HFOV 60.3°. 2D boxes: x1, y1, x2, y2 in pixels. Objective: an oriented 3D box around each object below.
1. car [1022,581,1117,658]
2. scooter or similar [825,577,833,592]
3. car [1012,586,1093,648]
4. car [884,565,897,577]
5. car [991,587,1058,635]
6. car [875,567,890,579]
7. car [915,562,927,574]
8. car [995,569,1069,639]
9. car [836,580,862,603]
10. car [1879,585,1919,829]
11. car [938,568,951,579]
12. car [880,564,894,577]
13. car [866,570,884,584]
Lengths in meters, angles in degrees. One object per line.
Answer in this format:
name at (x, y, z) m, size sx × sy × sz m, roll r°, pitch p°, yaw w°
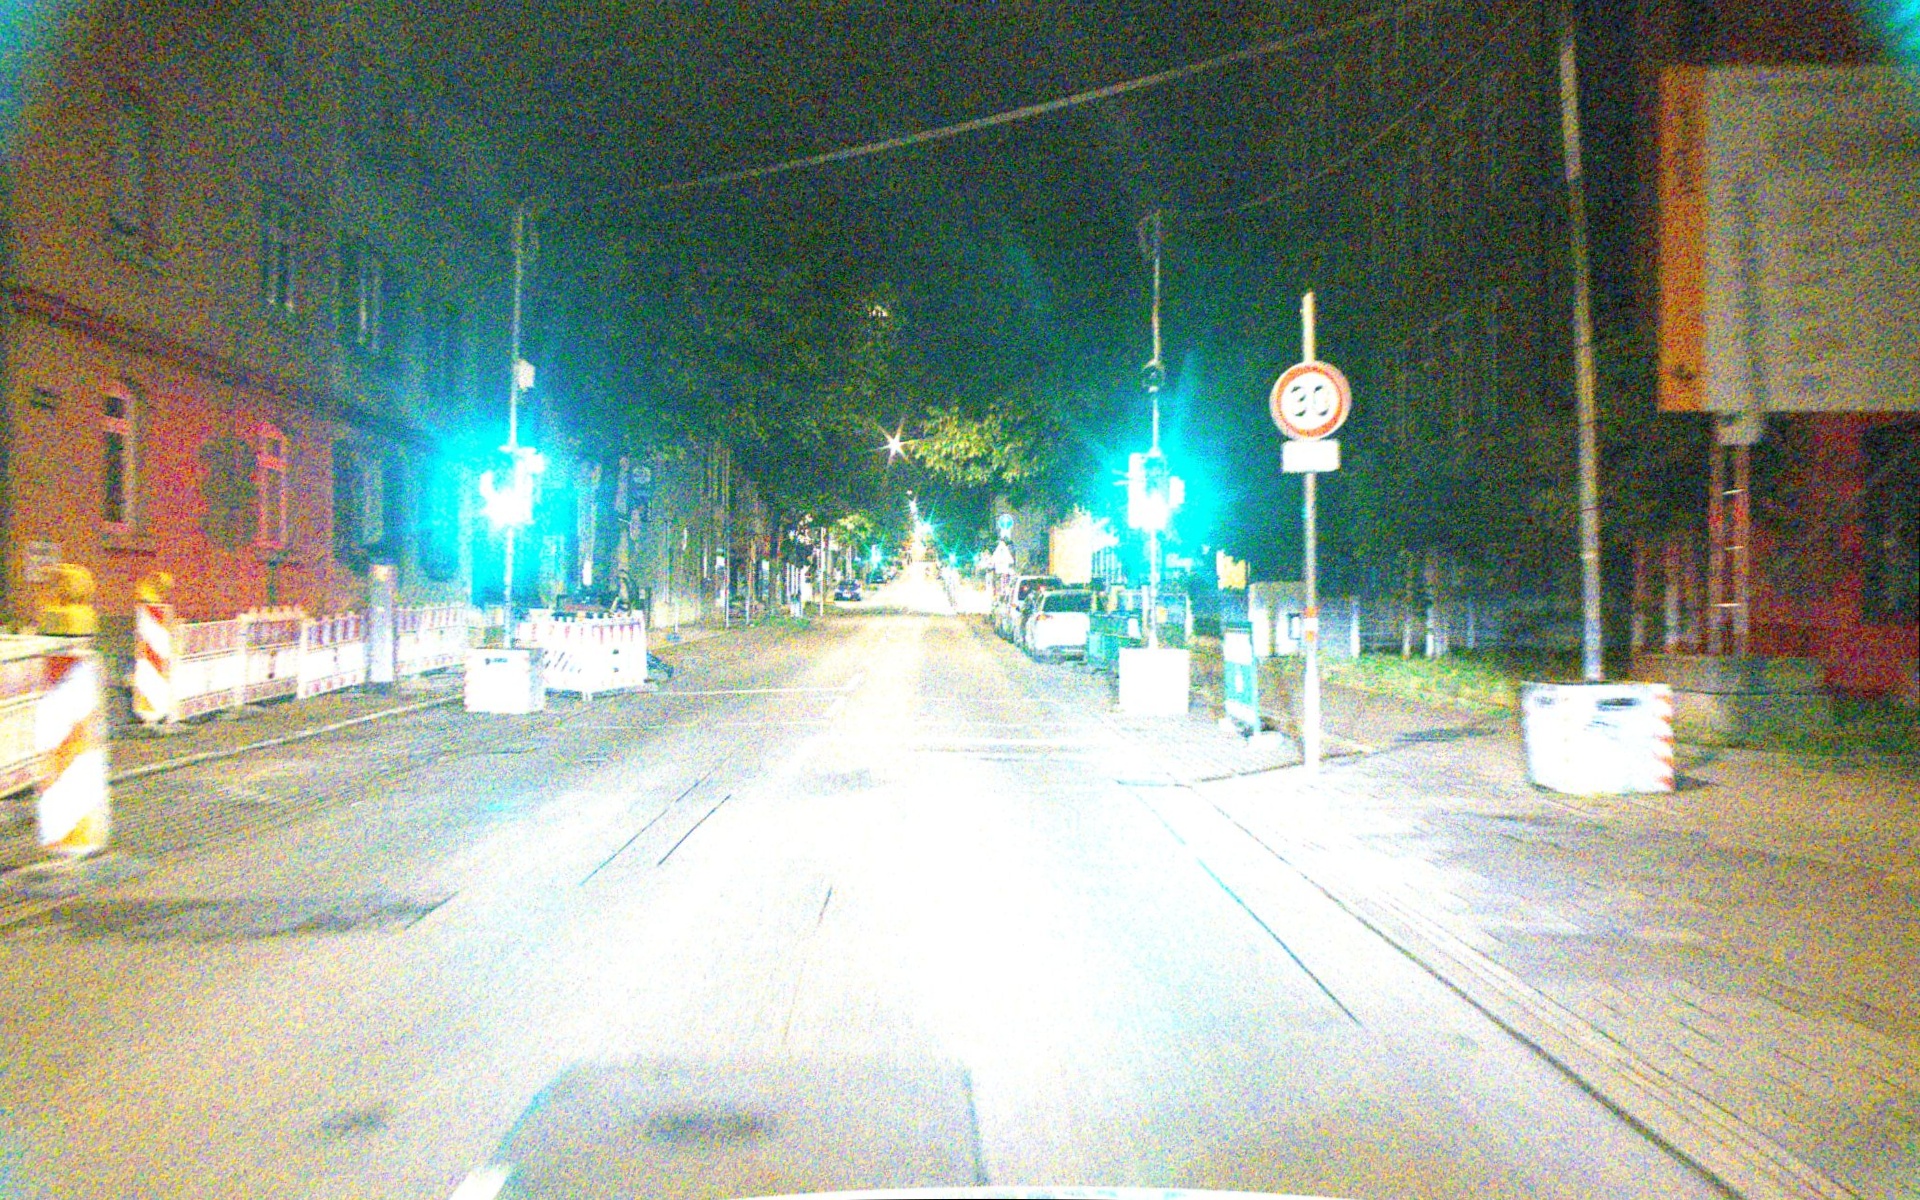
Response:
car at (2.307, 0.374, 35.767) m, size 1.704 × 1.503 × 3.999 m, roll -2°, pitch 1°, yaw -1°
scooter or similar at (-11.067, -1.302, 139.534) m, size 0.517 × 1.185 × 2.506 m, roll -1°, pitch -1°, yaw -2°
car at (2.225, 0.377, 40.791) m, size 1.652 × 1.445 × 4.442 m, roll -1°, pitch 0°, yaw -1°
car at (-10.419, -4.352, 247.392) m, size 1.835 × 1.846 × 4.204 m, roll 0°, pitch 1°, yaw -1°
car at (1.981, 0.321, 51.868) m, size 1.693 × 1.444 × 4.320 m, roll 0°, pitch 0°, yaw -4°
car at (-10.446, -3.601, 222.681) m, size 1.835 × 1.571 × 4.204 m, roll 0°, pitch 1°, yaw -1°
car at (-5.962, -4.854, 253.561) m, size 1.835 × 1.846 × 4.205 m, roll 1°, pitch 1°, yaw 0°
car at (1.996, 0.101, 47.000) m, size 1.701 × 1.887 × 4.314 m, roll 0°, pitch 0°, yaw -3°
car at (-7.617, -0.603, 113.768) m, size 1.637 × 1.468 × 4.204 m, roll 0°, pitch 1°, yaw -1°
car at (7.689, 0.623, 9.395) m, size 3.934 × 1.447 × 1.851 m, roll 0°, pitch -1°, yaw -3°
car at (-2.184, -3.773, 236.339) m, size 1.835 × 1.571 × 4.204 m, roll 0°, pitch 1°, yaw -1°
car at (-10.097, -4.081, 229.094) m, size 1.835 × 1.846 × 4.204 m, roll 1°, pitch 1°, yaw -1°
car at (-9.554, -2.578, 185.797) m, size 1.835 × 1.571 × 4.204 m, roll 0°, pitch 1°, yaw -1°
